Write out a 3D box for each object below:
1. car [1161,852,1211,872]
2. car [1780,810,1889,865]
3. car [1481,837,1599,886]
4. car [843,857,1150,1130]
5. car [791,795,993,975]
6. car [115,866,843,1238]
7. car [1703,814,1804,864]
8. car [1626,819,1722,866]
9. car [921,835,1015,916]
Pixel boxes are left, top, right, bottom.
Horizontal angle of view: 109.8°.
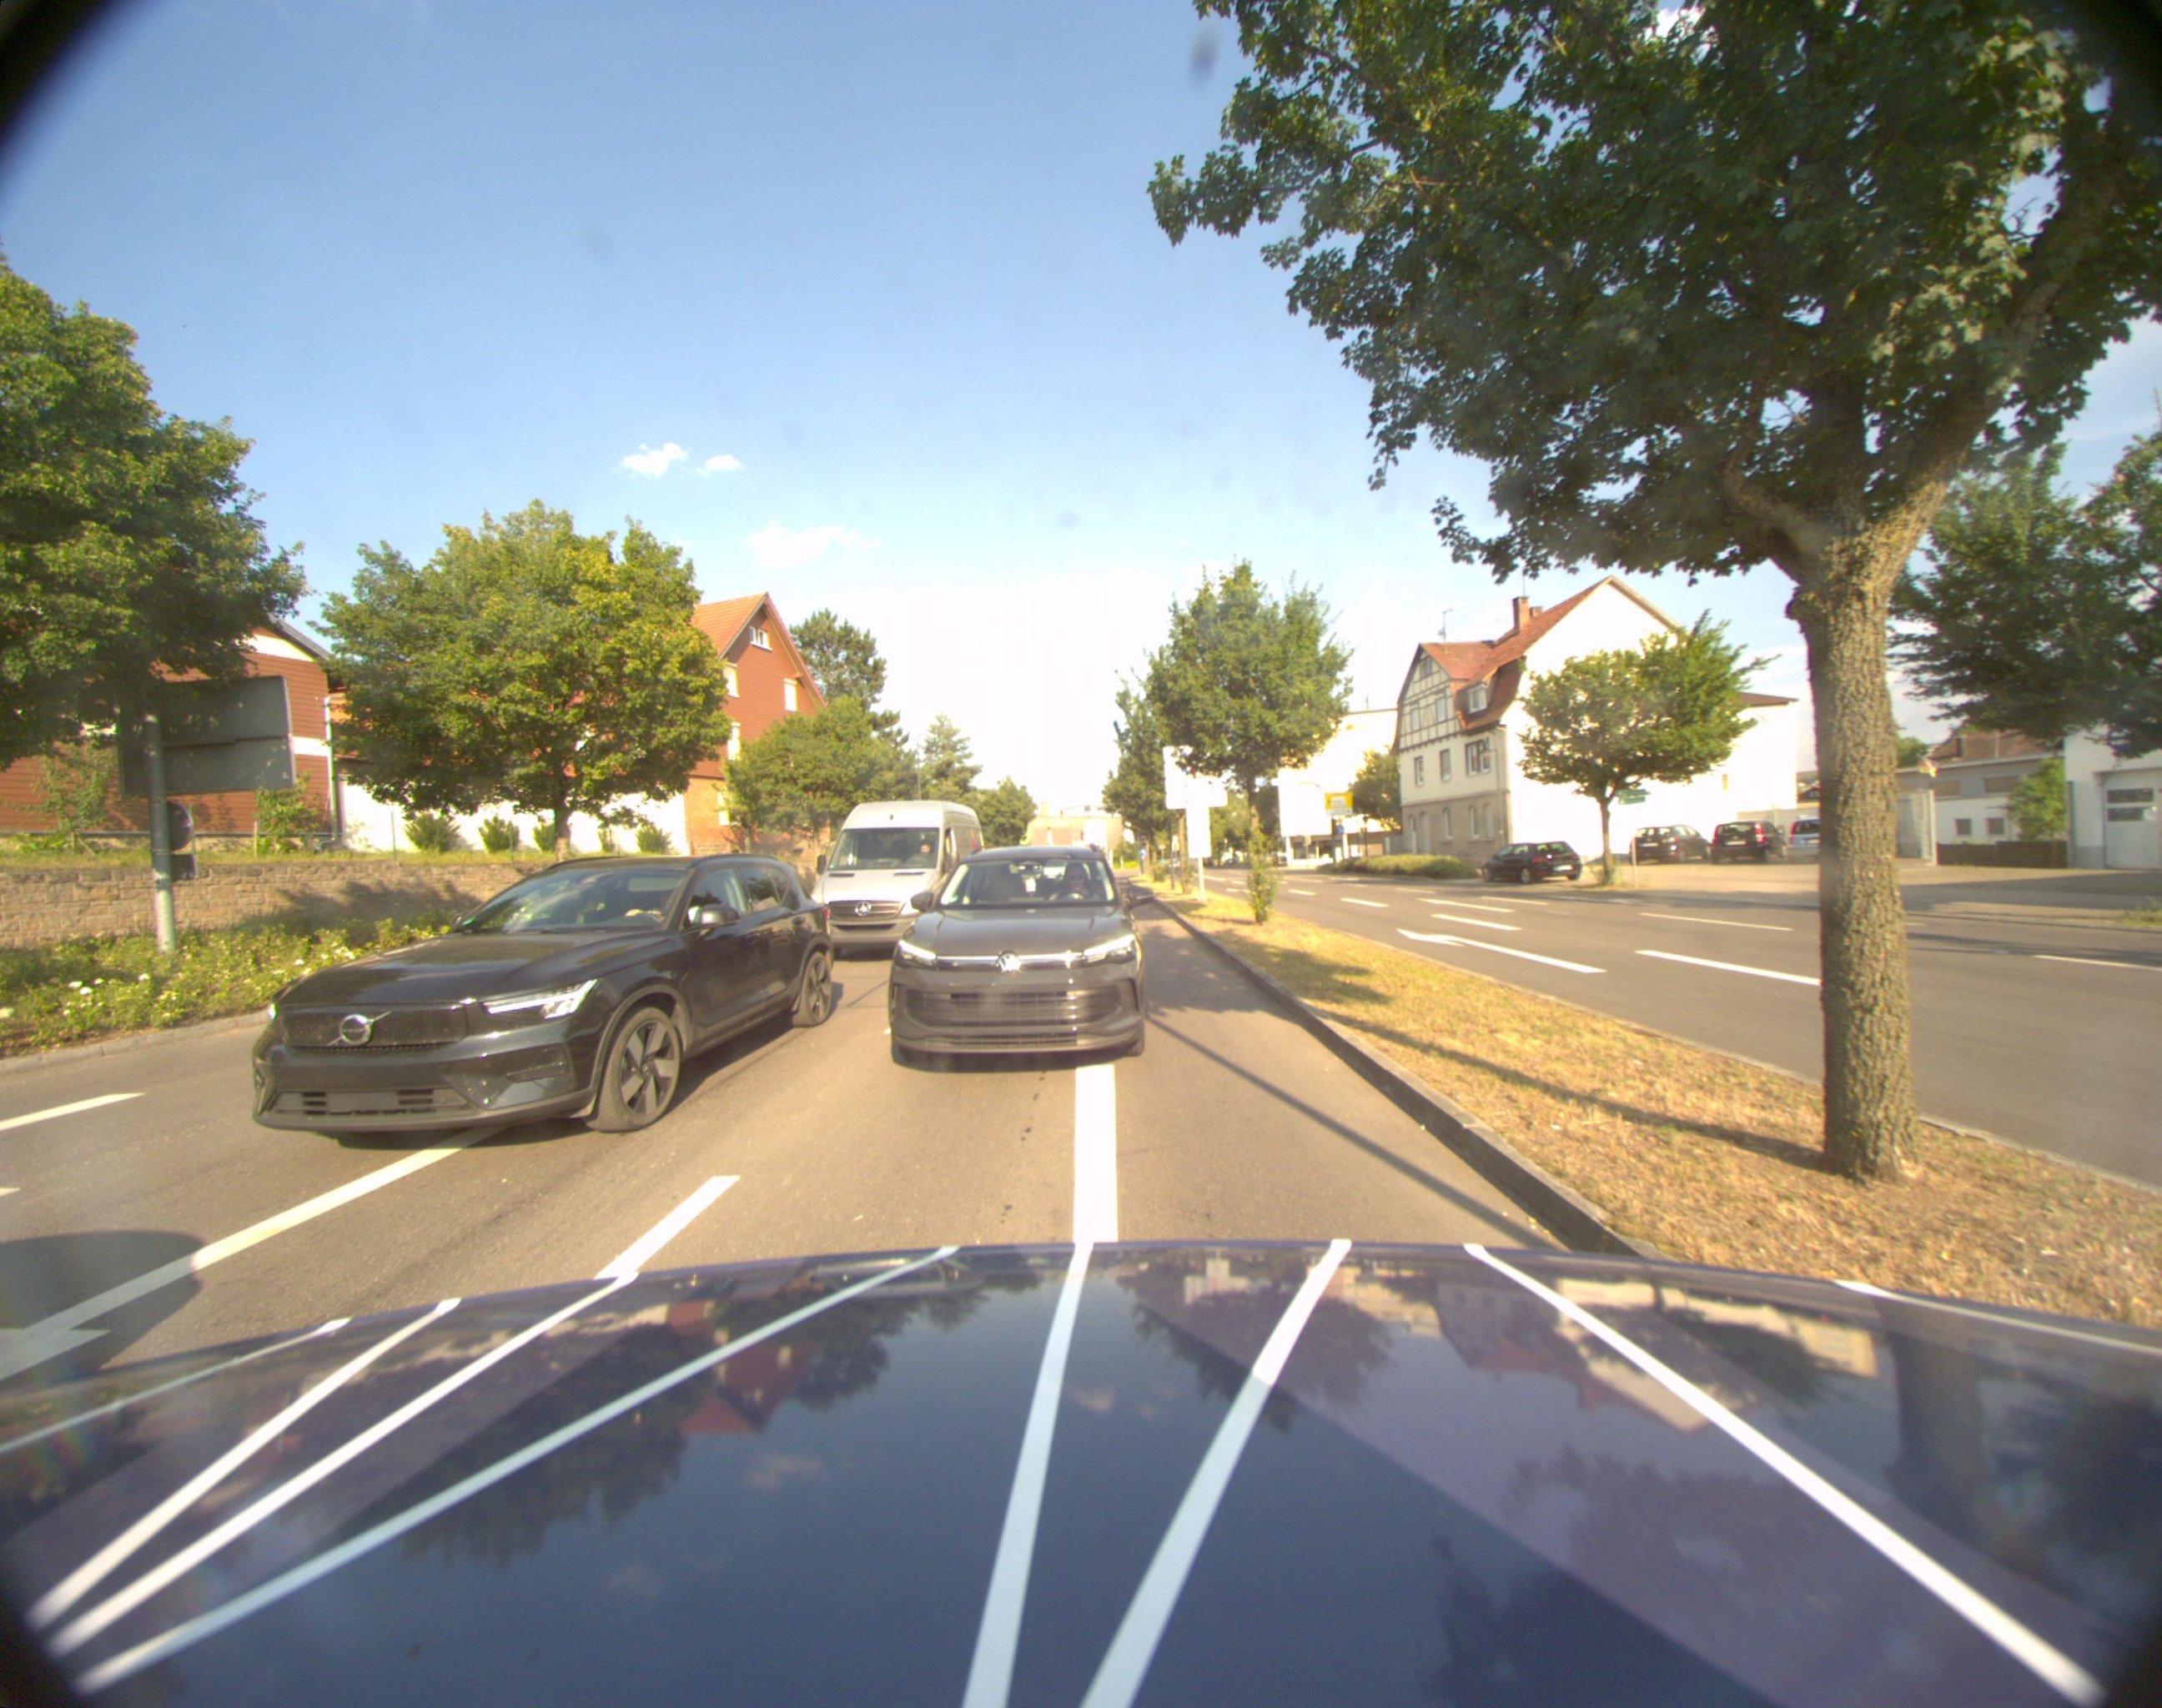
[{"bbox_3d":[9.363,0.686,67.707,4.001,1.622,1.858,-2,1,-14],"label":"car"},{"bbox_3d":[24.881,-0.563,25.068,3.830,1.493,1.816,-5,1,-35],"label":"car"},{"bbox_3d":[16.035,0.226,26.798,1.818,1.442,3.825,-5,0,1],"label":"car"},{"bbox_3d":[-0.452,0.861,6.767,1.845,1.600,4.318,-1,0,2],"label":"car"},{"bbox_3d":[-3.069,0.432,13.933,1.992,2.554,6.046,-1,0,2],"label":"car"},{"bbox_3d":[-3.426,0.944,5.627,1.845,1.600,4.318,-1,0,2],"label":"car"},{"bbox_3d":[24.659,-0.553,27.833,3.830,1.493,1.816,-5,1,-35],"label":"car"},{"bbox_3d":[23.381,-0.457,29.930,3.830,1.493,1.816,-5,1,-35],"label":"car"},{"bbox_3d":[-3.013,0.529,21.136,1.845,2.018,4.318,-1,0,2],"label":"car"}]
